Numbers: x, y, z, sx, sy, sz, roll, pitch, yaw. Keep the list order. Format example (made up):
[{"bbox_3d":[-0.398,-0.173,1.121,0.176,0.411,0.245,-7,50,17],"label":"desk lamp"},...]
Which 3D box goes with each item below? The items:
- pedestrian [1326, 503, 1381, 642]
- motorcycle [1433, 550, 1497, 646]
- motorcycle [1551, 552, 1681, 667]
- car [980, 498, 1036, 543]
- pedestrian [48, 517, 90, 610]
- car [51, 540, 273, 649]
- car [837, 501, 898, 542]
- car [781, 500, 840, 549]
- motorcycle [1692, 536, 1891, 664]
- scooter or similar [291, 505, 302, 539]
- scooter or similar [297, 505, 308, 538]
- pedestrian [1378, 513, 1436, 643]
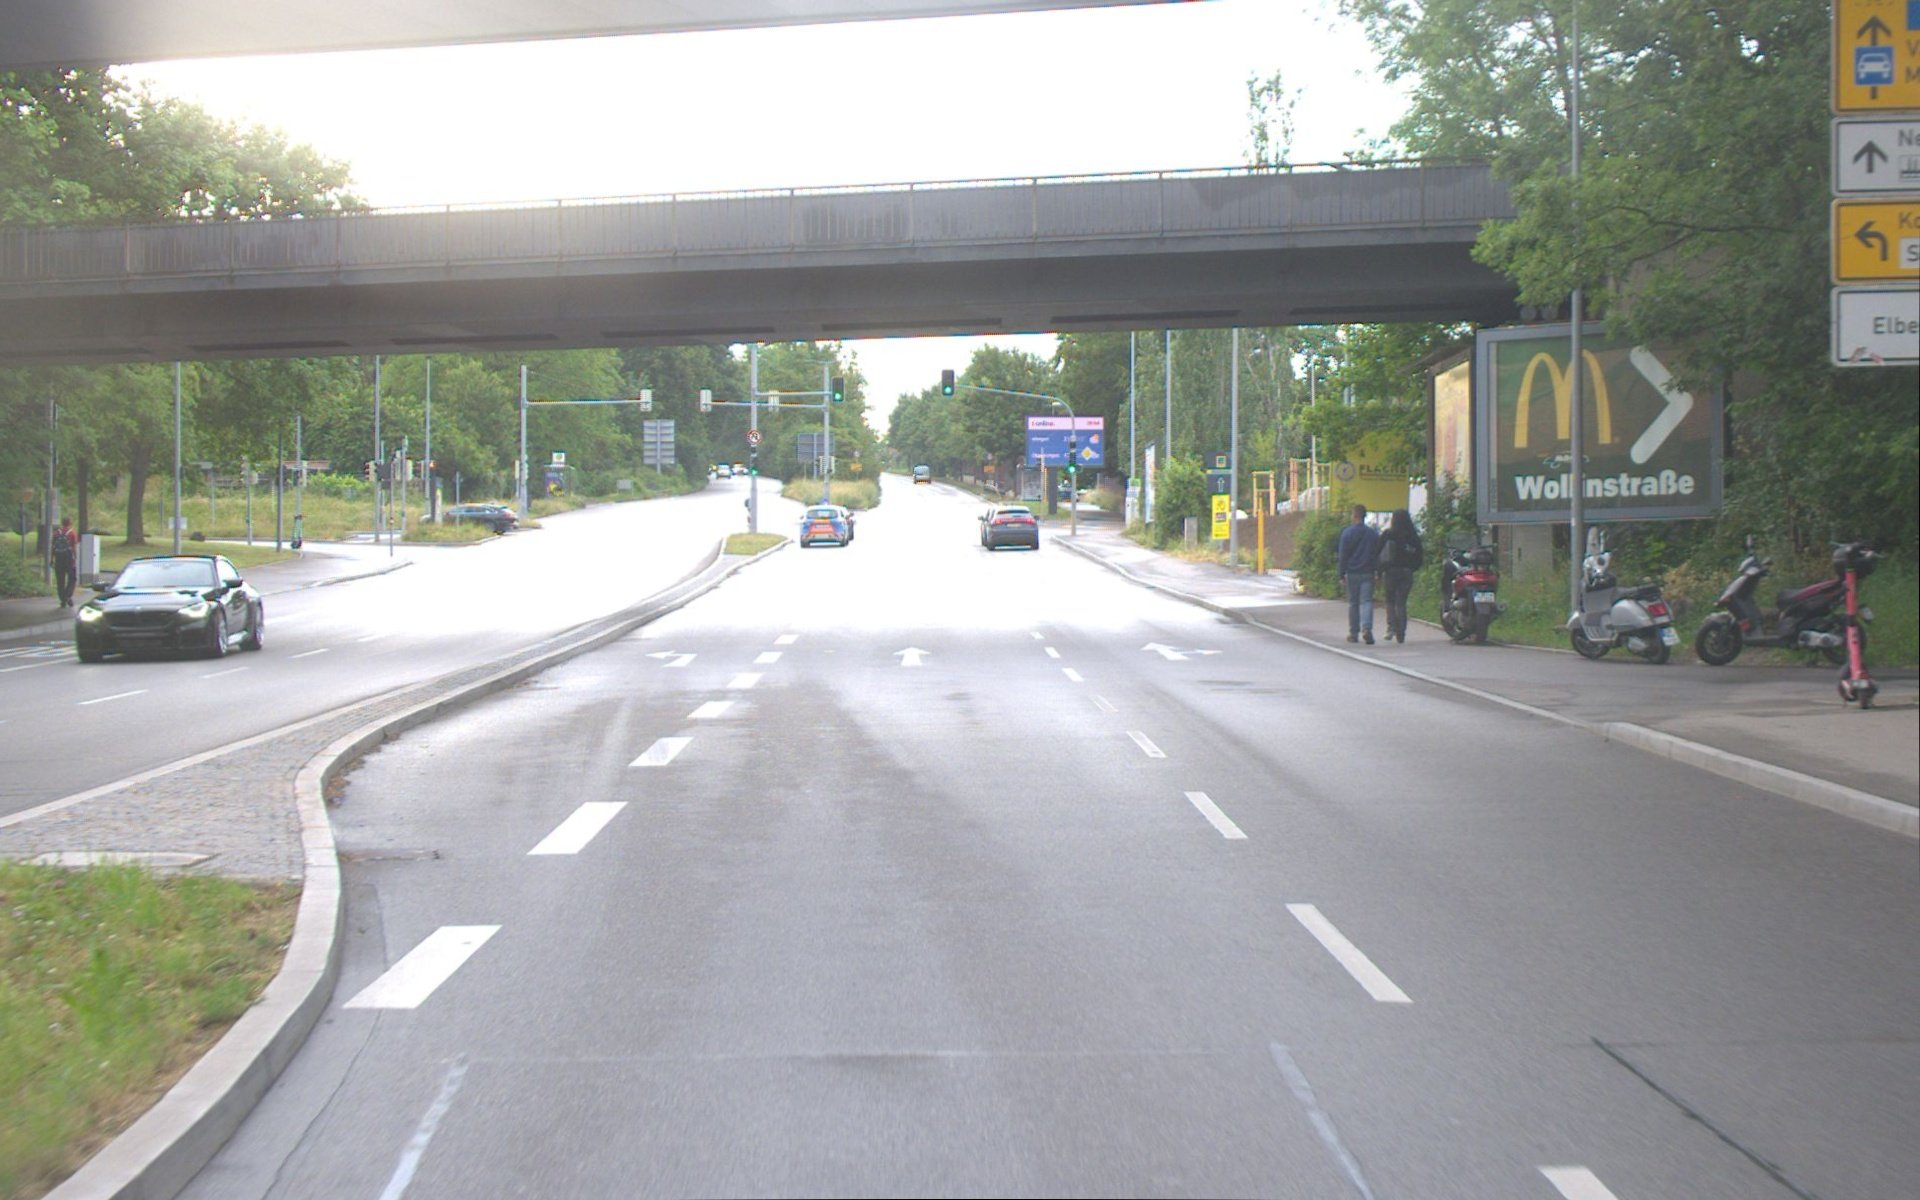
[{"bbox_3d":[4.909,-0.348,42.858,0.611,1.715,0.891,-1,1,9],"label":"pedestrian"},{"bbox_3d":[6.147,-0.037,41.895,0.469,1.133,1.819,-1,1,-1],"label":"motorcycle"},{"bbox_3d":[7.162,0.086,37.617,0.469,1.209,1.945,-1,1,-19],"label":"motorcycle"},{"bbox_3d":[1.635,-2.751,118.506,1.744,1.465,4.167,0,2,-1],"label":"car"},{"bbox_3d":[-17.580,-0.727,67.815,0.520,1.809,0.799,1,2,9],"label":"pedestrian"},{"bbox_3d":[-10.860,-0.110,47.135,2.063,1.357,4.757,-1,1,-2],"label":"car"},{"bbox_3d":[-3.870,-3.262,142.802,2.165,1.577,4.665,2,0,-5],"label":"car"},{"bbox_3d":[-5.557,-2.795,127.702,2.076,1.712,4.199,2,0,-3],"label":"car"},{"bbox_3d":[8.639,-0.002,35.763,1.942,1.293,0.546,0,1,35],"label":"motorcycle"},{"bbox_3d":[-24.297,-2.848,125.932,0.311,1.214,1.308,-1,2,-15],"label":"scooter or similar"},{"bbox_3d":[-24.426,-2.925,127.623,0.311,1.214,1.308,-1,2,-14],"label":"scooter or similar"},{"bbox_3d":[5.545,-0.274,42.635,0.651,1.590,0.578,-1,1,11],"label":"pedestrian"}]
